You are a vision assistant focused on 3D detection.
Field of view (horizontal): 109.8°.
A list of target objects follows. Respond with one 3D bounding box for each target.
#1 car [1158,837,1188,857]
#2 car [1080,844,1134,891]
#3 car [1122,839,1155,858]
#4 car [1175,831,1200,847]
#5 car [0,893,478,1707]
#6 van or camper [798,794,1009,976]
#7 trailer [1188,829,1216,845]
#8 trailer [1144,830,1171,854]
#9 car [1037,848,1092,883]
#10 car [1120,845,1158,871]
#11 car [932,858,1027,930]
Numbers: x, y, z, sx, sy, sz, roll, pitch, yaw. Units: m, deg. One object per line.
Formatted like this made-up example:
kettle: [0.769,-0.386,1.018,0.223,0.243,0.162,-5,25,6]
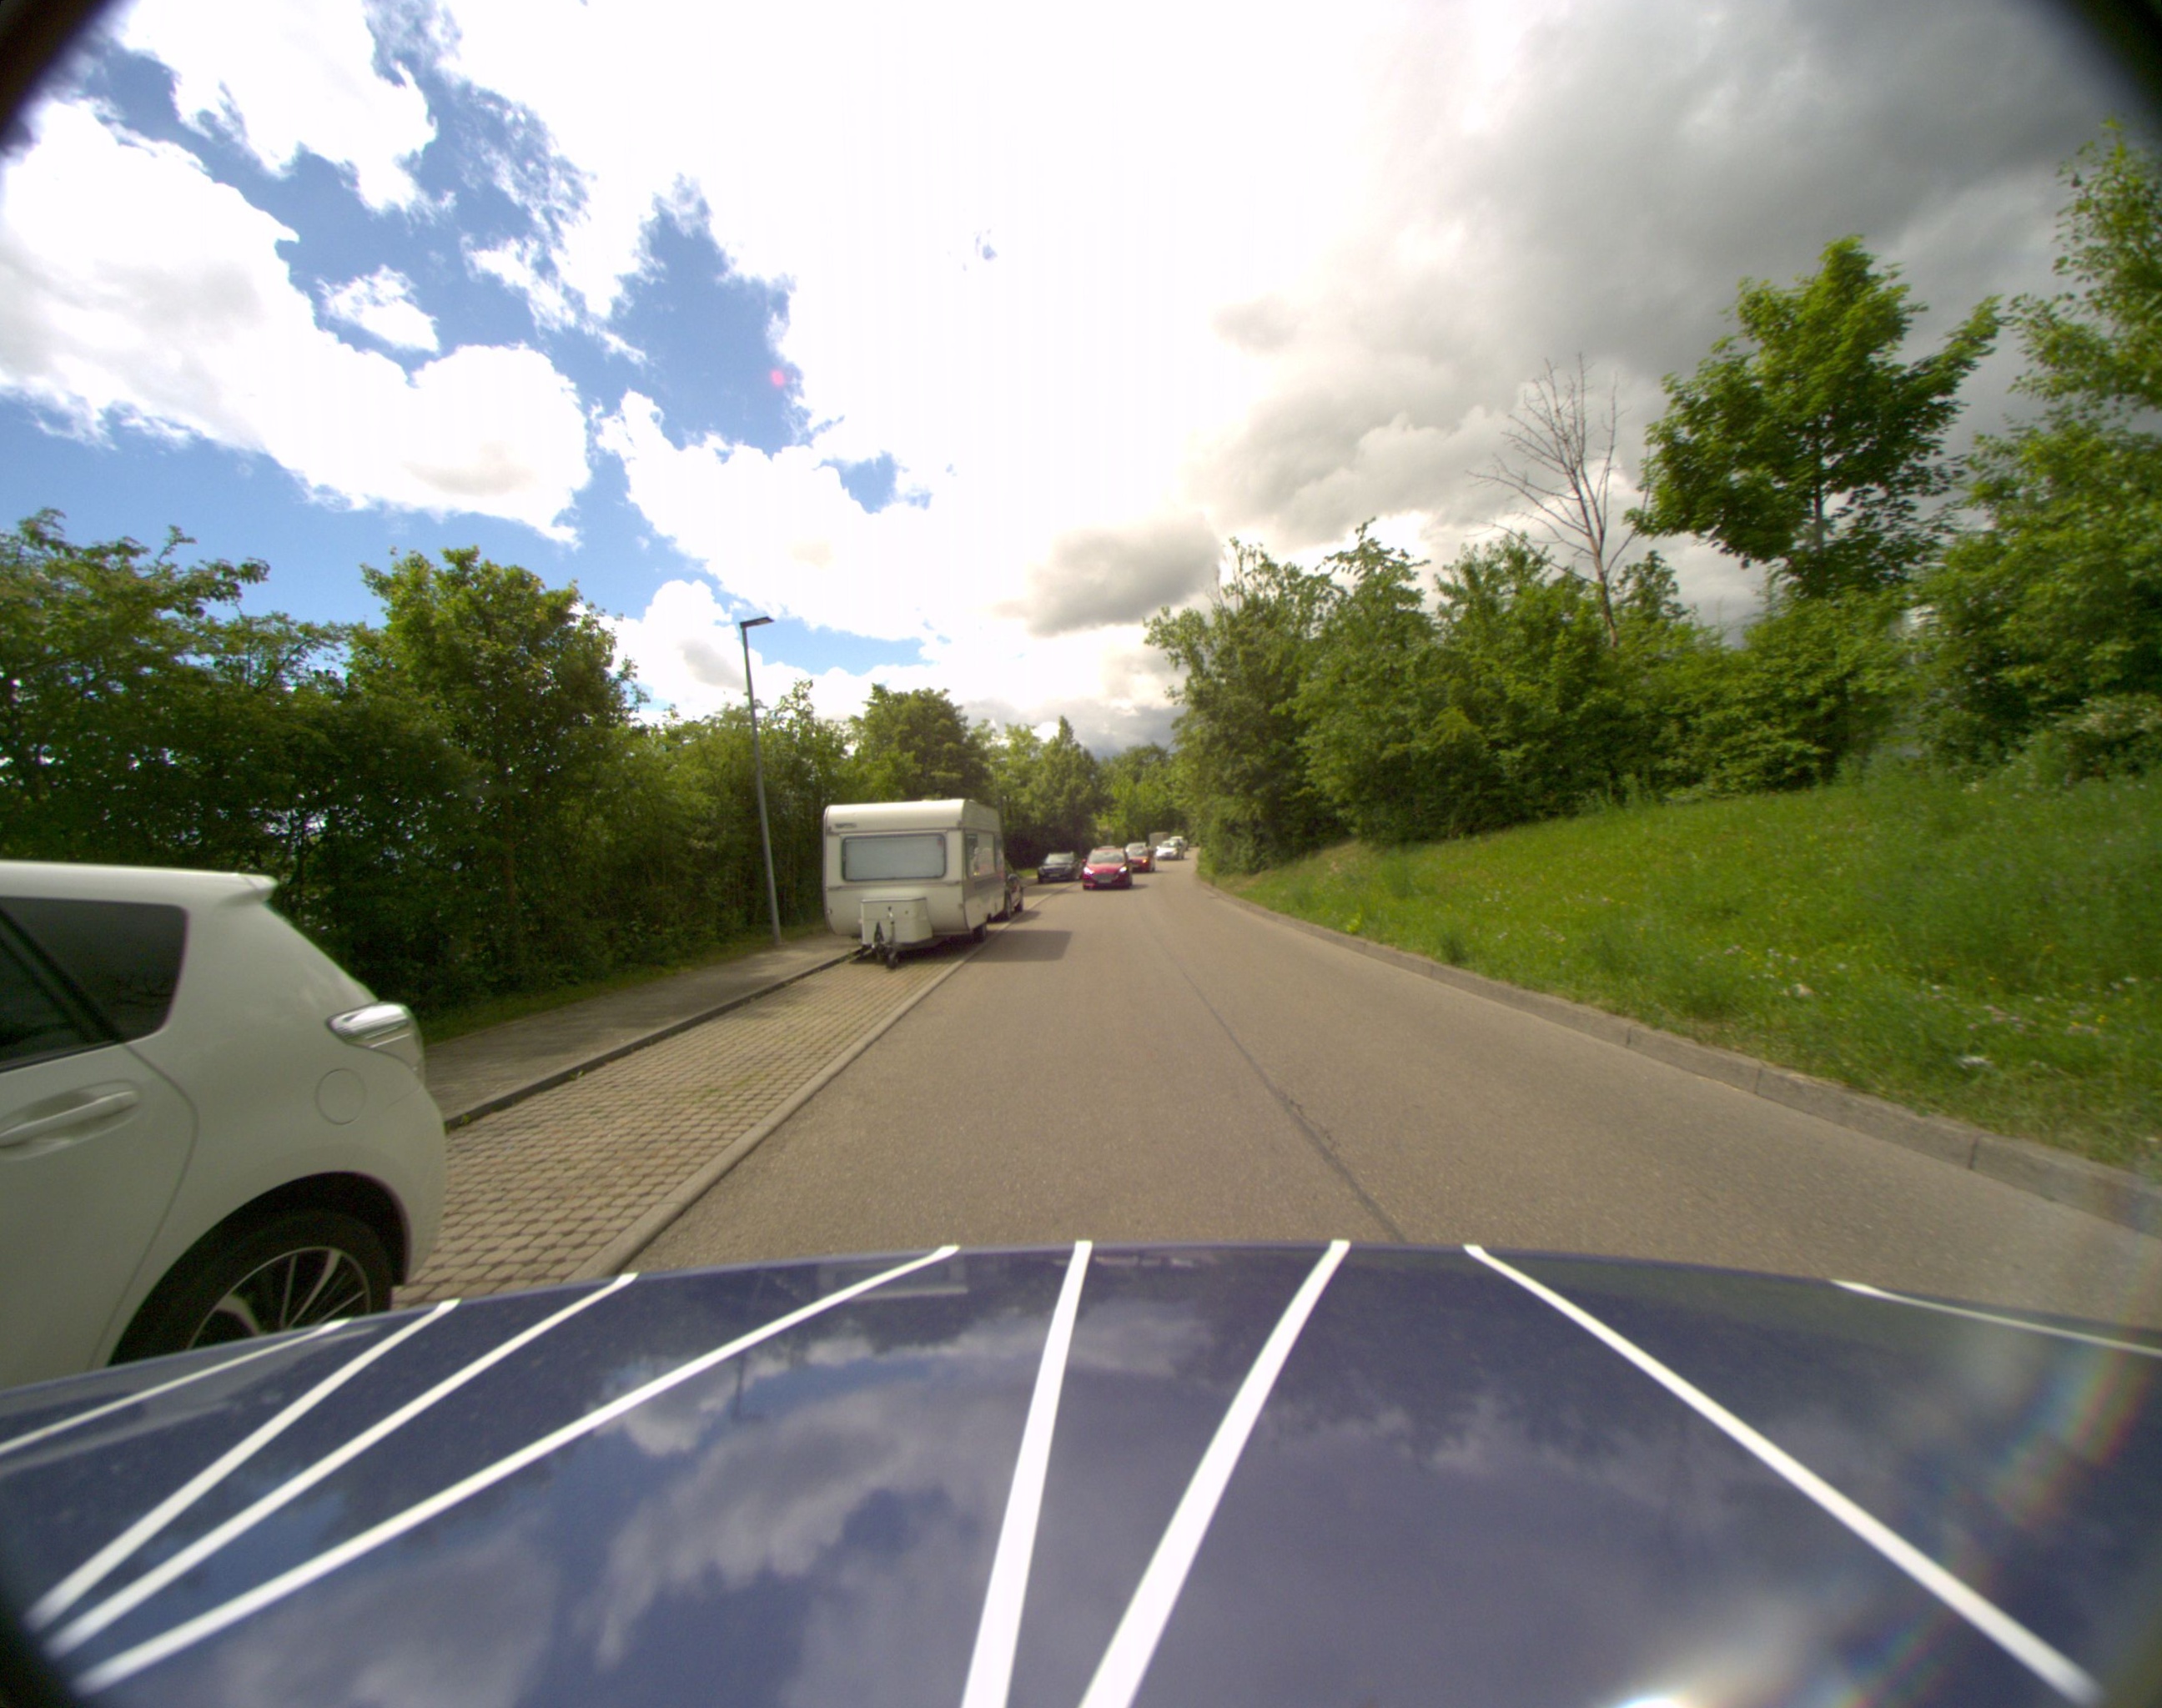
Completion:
car: [7.761,-0.602,63.881,1.794,1.500,4.116,-1,2,16]
car: [1.159,0.503,31.467,1.911,1.689,4.387,-3,1,5]
car: [5.066,-0.482,65.921,1.865,1.469,4.906,-1,2,16]
car: [11.429,-1.591,81.438,1.707,1.469,3.787,-1,4,24]
car: [-2.902,0.969,0.291,1.809,1.590,4.371,-3,0,-1]
van or camper: [-2.795,0.417,13.503,2.360,2.539,5.074,-2,1,1]
trailer: [14.023,-1.968,88.184,1.811,1.570,4.495,-1,4,28]
trailer: [7.510,-1.200,73.981,1.732,2.067,3.786,-1,3,19]
car: [-0.759,0.513,38.342,1.896,1.521,4.548,-3,0,9]
car: [3.600,0.212,46.607,1.794,1.405,4.115,-1,2,11]
car: [-2.465,0.926,19.521,1.686,1.442,4.480,-4,1,1]
